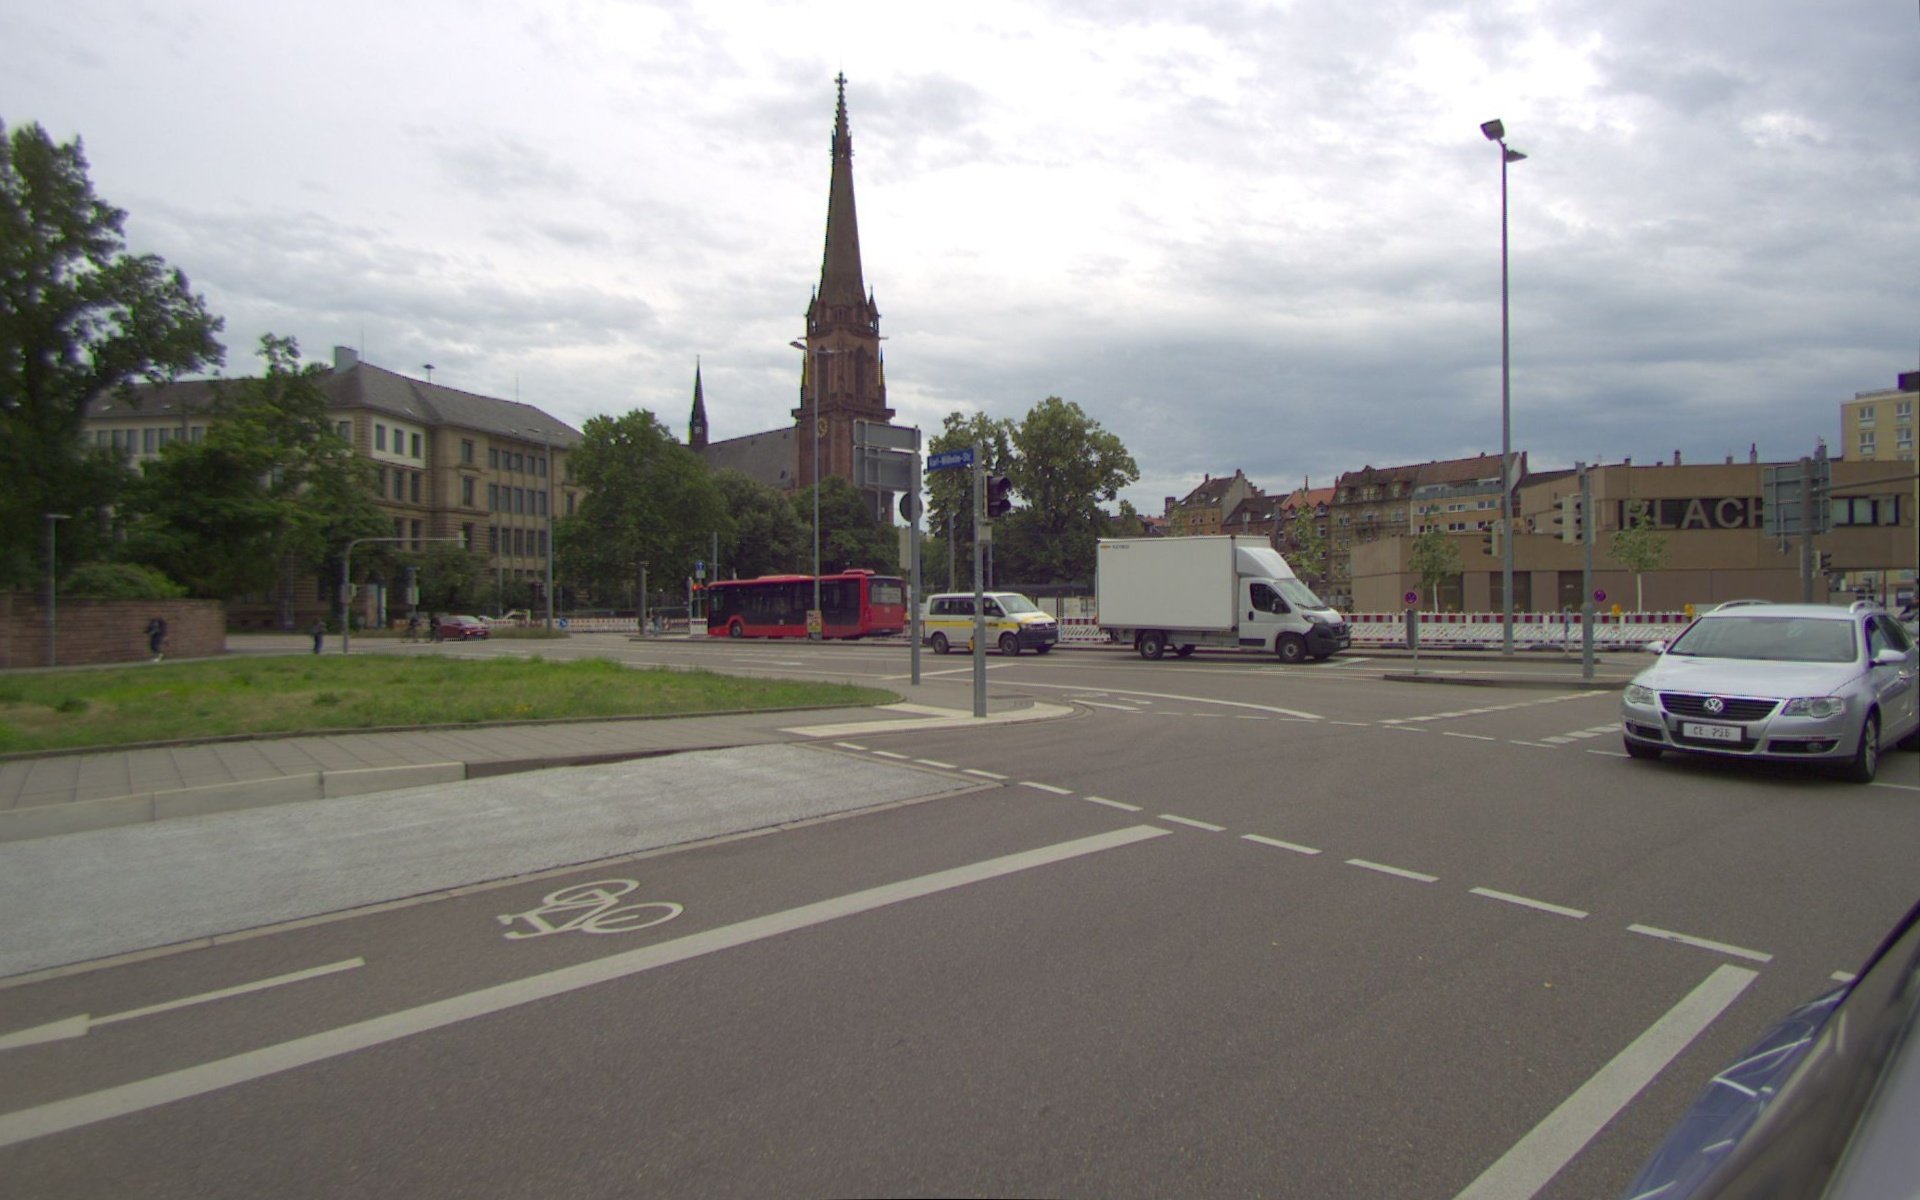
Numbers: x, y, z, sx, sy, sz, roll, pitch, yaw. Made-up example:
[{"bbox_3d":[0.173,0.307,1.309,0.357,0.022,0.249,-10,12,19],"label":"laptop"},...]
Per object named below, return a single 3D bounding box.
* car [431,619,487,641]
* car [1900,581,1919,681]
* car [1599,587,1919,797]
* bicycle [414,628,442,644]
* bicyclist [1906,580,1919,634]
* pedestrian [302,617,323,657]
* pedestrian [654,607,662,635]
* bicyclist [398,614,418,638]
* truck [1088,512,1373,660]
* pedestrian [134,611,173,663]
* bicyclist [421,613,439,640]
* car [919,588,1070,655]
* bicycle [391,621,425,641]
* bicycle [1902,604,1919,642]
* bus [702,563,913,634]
[{"bbox_3d":[-29.982,1.765,60.554,3.512,1.171,1.430,1,1,34],"label":"car"},{"bbox_3d":[18.121,0.475,17.535,4.408,1.645,1.912,-1,0,-37],"label":"car"},{"bbox_3d":[8.034,0.665,9.754,4.445,1.570,1.829,-1,1,-39],"label":"car"},{"bbox_3d":[-30.238,2.018,57.541,1.806,0.830,0.595,1,0,31],"label":"bicycle"},{"bbox_3d":[29.987,0.215,31.415,0.867,1.656,0.695,0,0,-32],"label":"bicyclist"},{"bbox_3d":[-26.829,1.519,41.967,0.678,1.659,0.874,0,-2,-30],"label":"pedestrian"},{"bbox_3d":[-19.185,1.320,64.328,0.366,1.726,0.372,0,0,-45],"label":"pedestrian"},{"bbox_3d":[-32.327,1.535,59.227,0.735,1.374,0.784,1,0,32],"label":"bicyclist"},{"bbox_3d":[7.020,-0.285,26.949,6.824,3.454,2.524,-2,0,41],"label":"truck"},{"bbox_3d":[-27.985,1.281,35.140,0.742,1.757,0.824,0,0,-10],"label":"pedestrian"},{"bbox_3d":[-30.126,1.498,57.475,0.776,1.540,0.595,1,0,31],"label":"bicyclist"},{"bbox_3d":[1.027,0.656,32.331,4.696,1.943,1.891,-1,0,43],"label":"car"},{"bbox_3d":[-32.304,1.806,59.215,2.205,1.051,0.783,1,0,33],"label":"bicycle"},{"bbox_3d":[30.055,0.713,31.454,1.831,1.144,0.695,0,0,-32],"label":"bicycle"},{"bbox_3d":[-7.449,0.055,47.315,12.049,2.945,2.893,-2,-1,43],"label":"bus"}]
